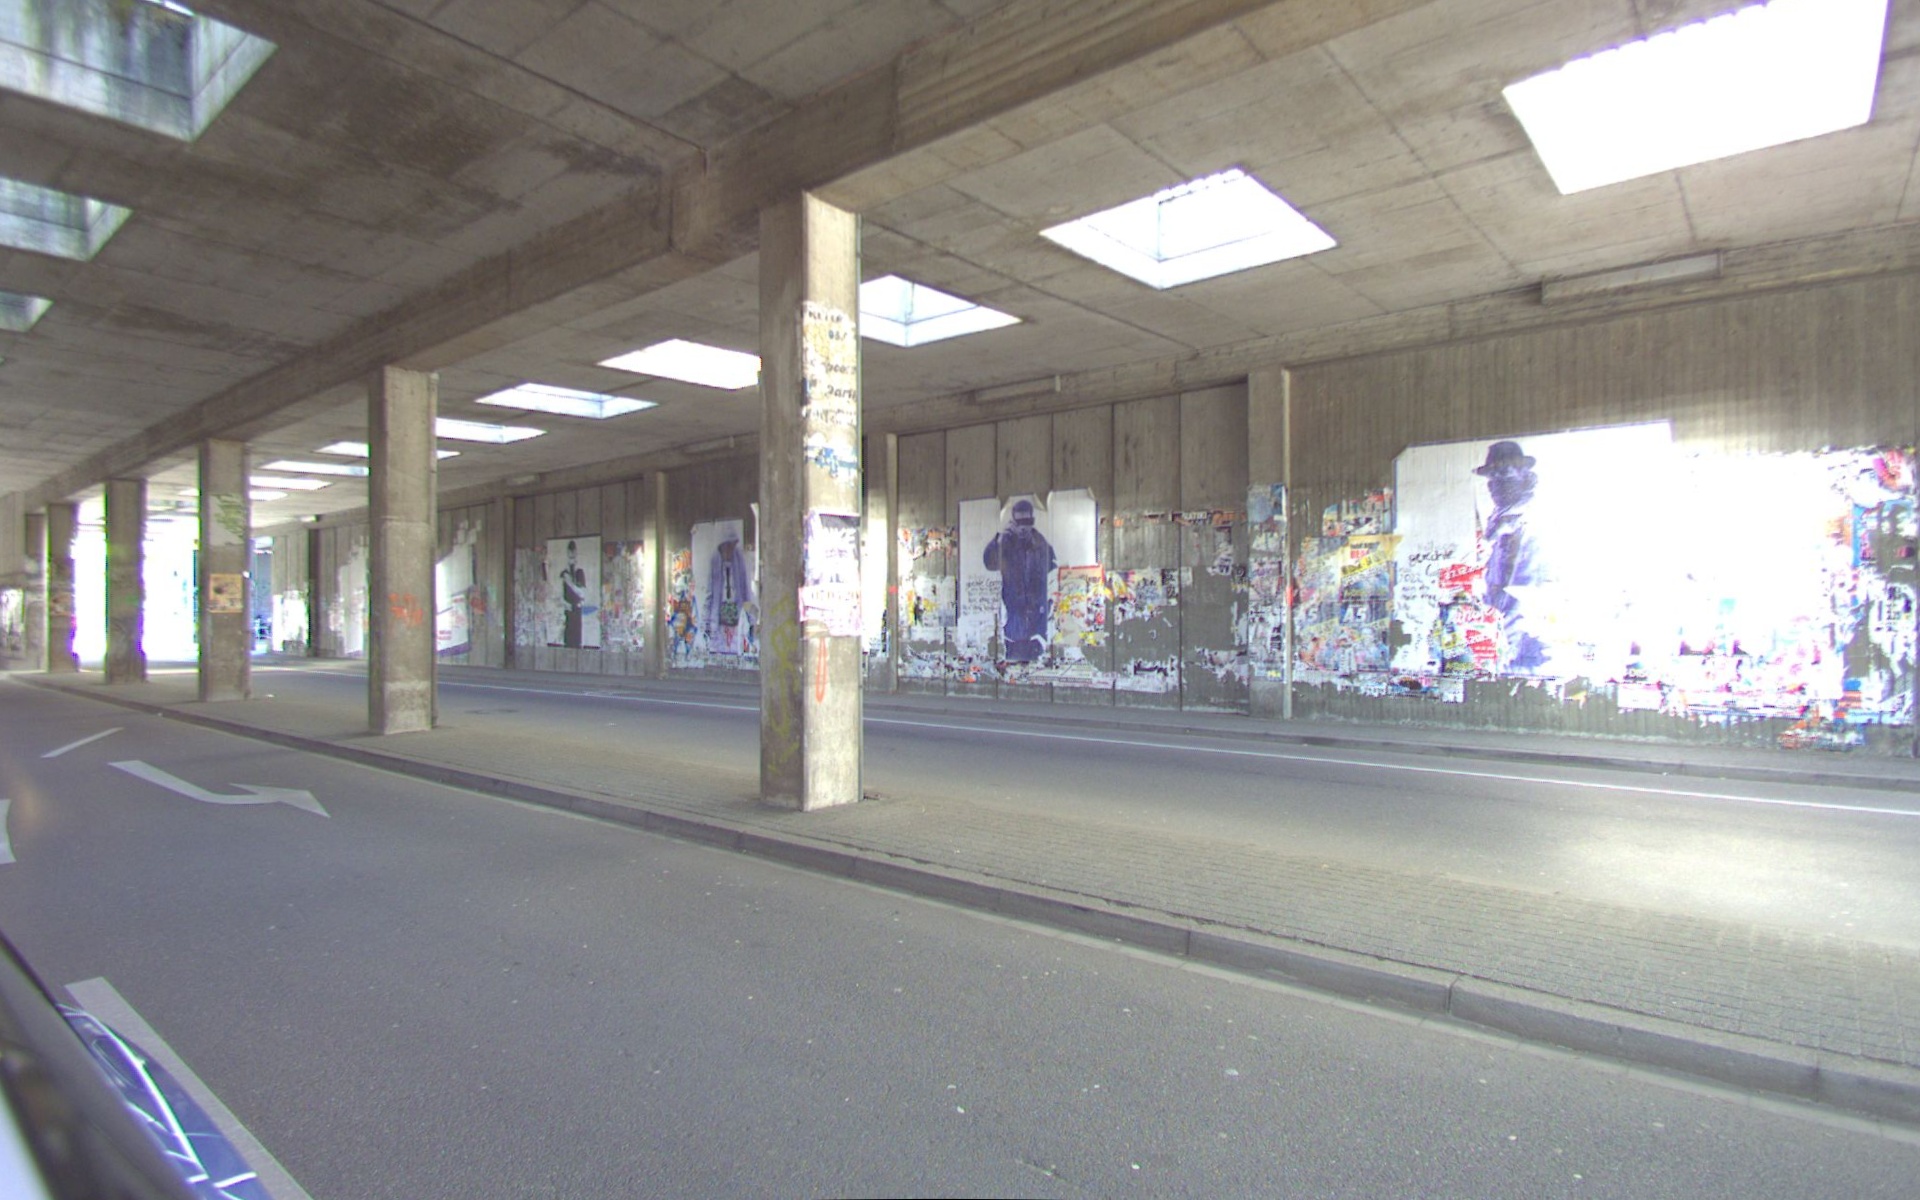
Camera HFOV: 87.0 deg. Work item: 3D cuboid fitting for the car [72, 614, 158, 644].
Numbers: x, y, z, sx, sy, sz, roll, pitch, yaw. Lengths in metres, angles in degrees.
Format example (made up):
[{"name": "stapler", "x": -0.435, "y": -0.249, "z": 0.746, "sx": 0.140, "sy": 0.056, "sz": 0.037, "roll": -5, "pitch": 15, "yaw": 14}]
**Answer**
[{"name": "car", "x": -52.462, "y": 1.774, "z": 62.849, "sx": 3.941, "sy": 1.763, "sz": 2.002, "roll": -1, "pitch": 0, "yaw": -44}]
